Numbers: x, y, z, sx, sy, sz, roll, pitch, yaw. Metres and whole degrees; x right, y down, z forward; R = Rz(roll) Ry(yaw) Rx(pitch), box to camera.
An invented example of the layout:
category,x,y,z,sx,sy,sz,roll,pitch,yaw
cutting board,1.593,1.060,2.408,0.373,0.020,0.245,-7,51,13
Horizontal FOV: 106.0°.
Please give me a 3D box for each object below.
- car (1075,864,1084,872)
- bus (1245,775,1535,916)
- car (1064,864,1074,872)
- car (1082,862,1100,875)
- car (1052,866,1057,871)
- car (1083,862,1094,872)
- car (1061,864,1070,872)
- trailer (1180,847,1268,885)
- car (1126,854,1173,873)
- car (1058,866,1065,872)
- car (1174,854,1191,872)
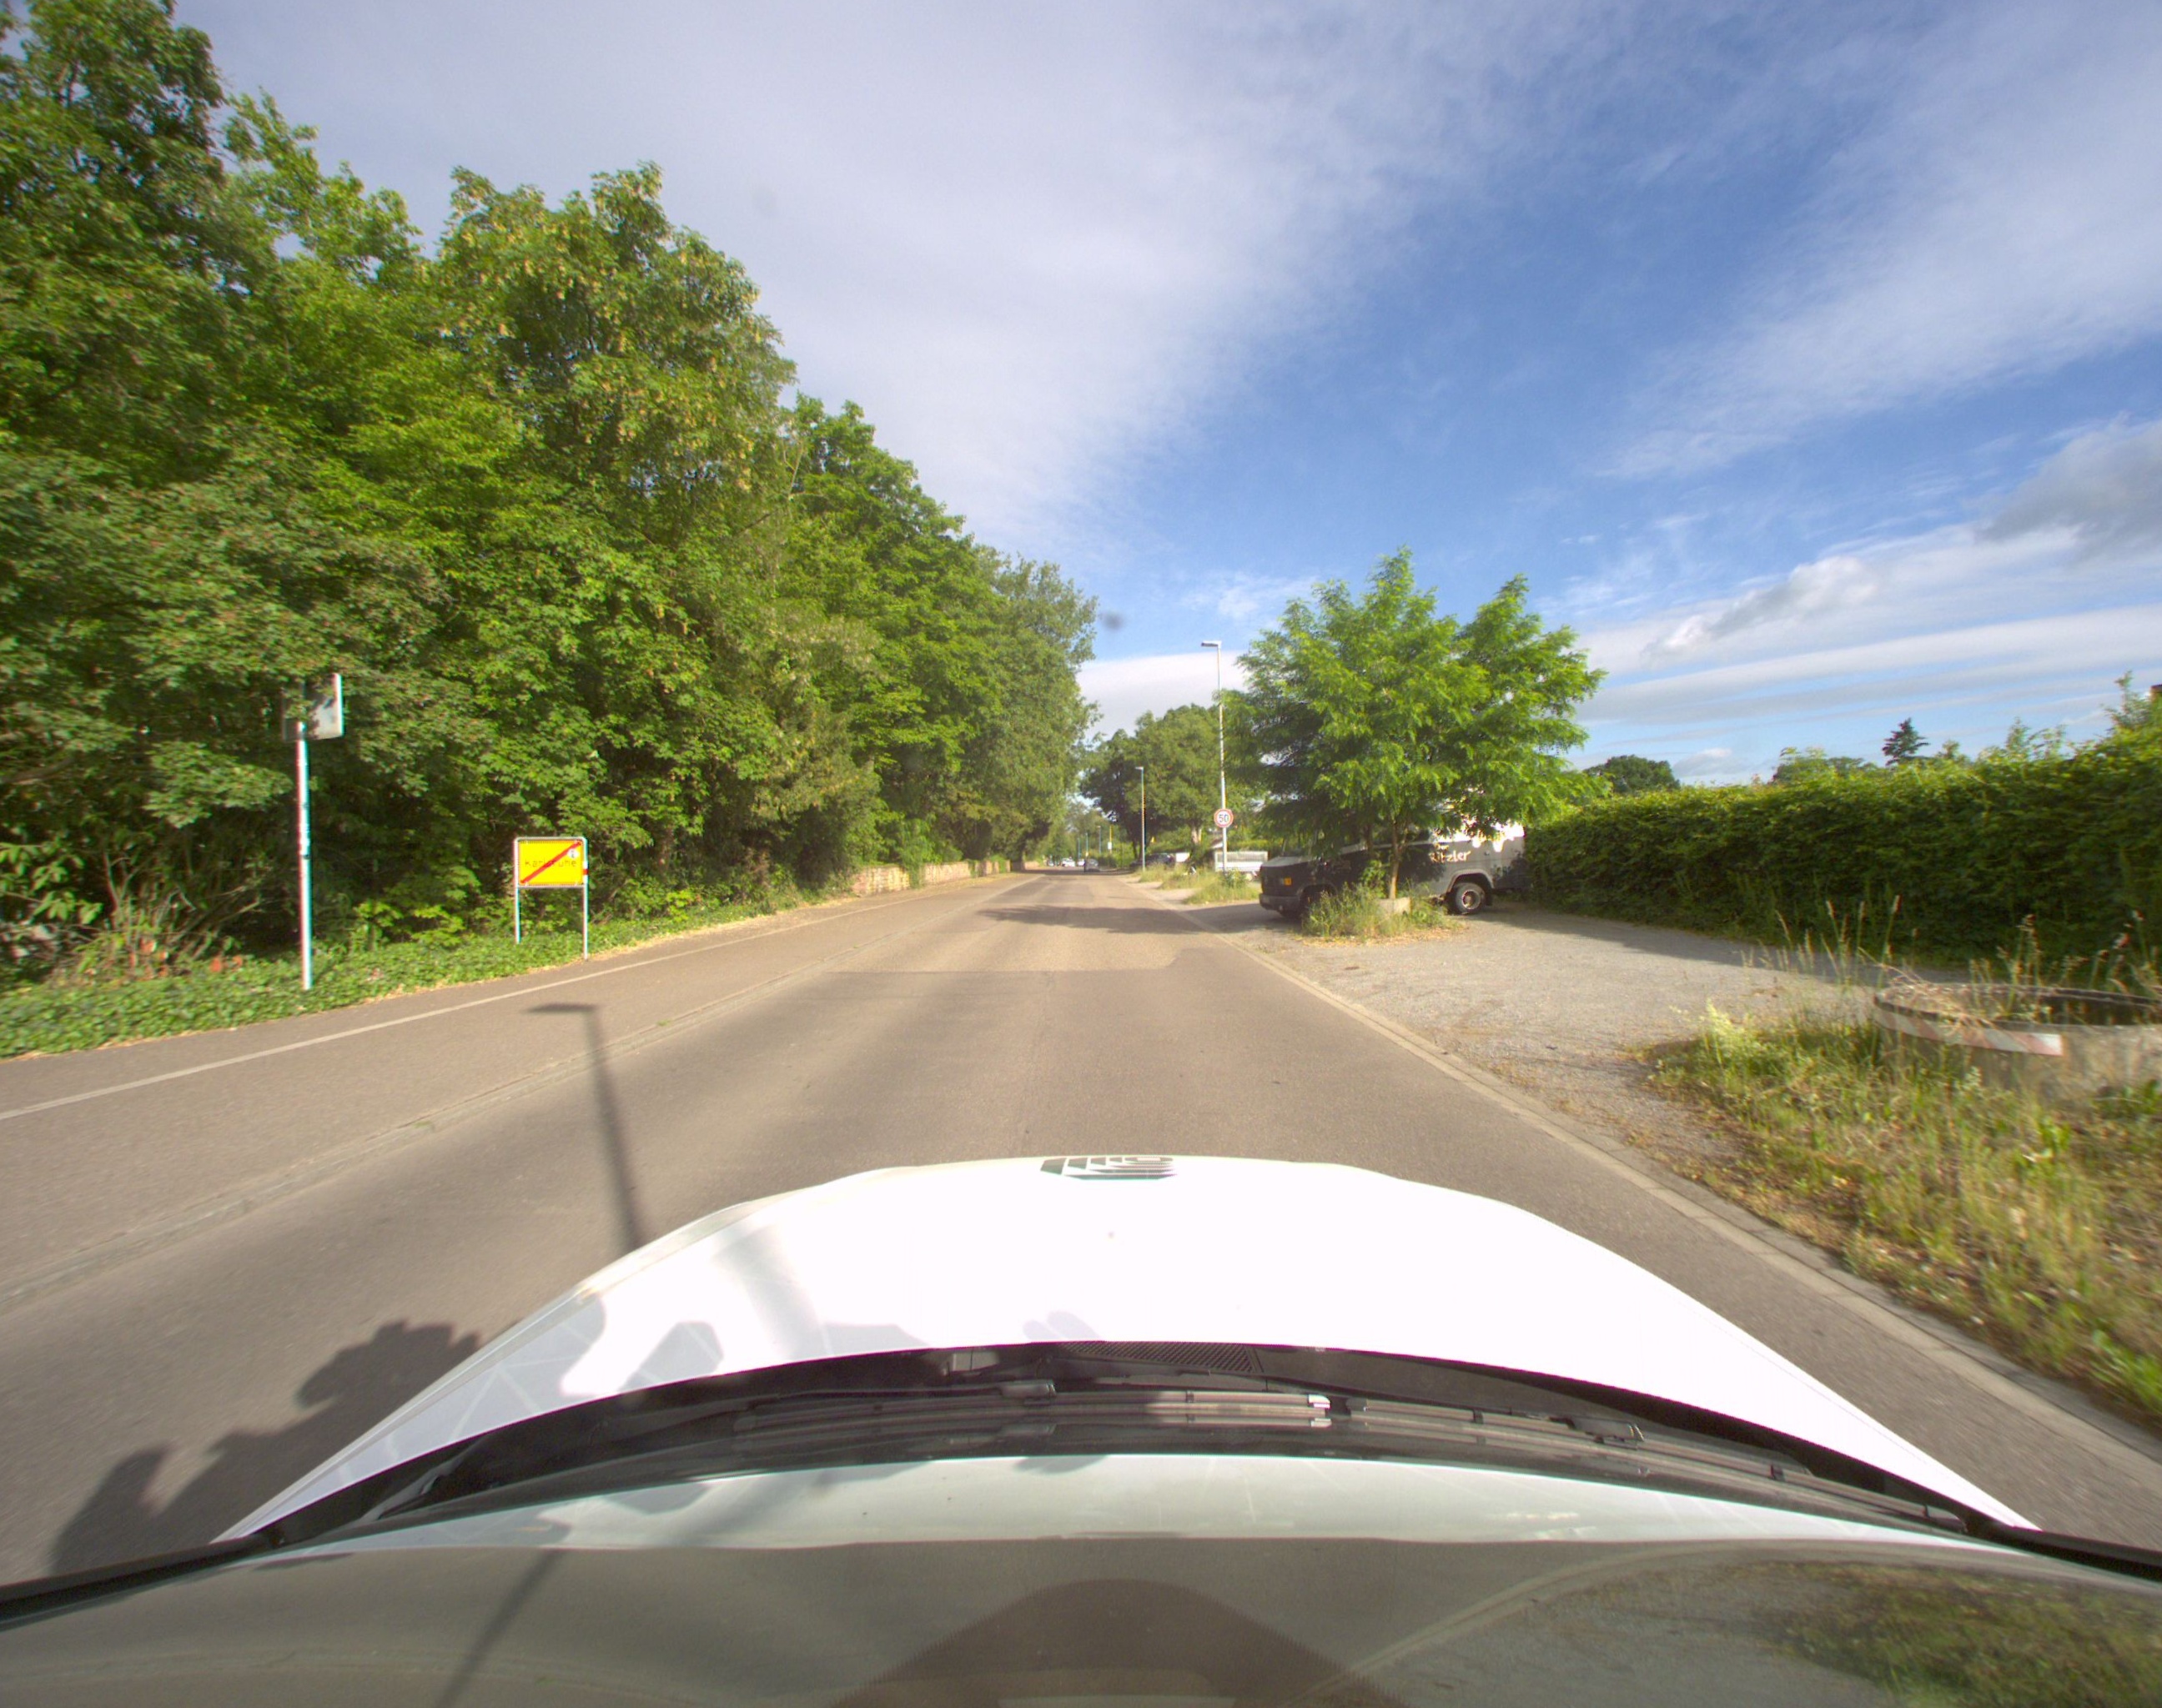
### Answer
category,x,y,z,sx,sy,sz,roll,pitch,yaw
car,-0.283,2.953,170.601,1.881,1.613,4.052,1,-1,-1
bus,6.374,-0.179,17.204,5.353,2.747,2.066,-1,-1,-4
car,-2.278,2.641,154.412,1.882,1.372,4.050,1,-1,-2
car,1.075,1.578,89.237,1.881,1.372,4.052,1,-1,-1
car,-8.008,4.424,245.715,1.573,1.452,3.396,0,-1,-2
car,1.319,2.352,144.781,1.881,1.613,4.052,1,-1,-1
car,-3.477,3.194,184.333,1.881,1.613,4.052,1,-1,-1
trailer,7.079,0.597,40.545,4.134,1.835,1.918,-1,-1,3
car,6.643,0.951,78.917,4.388,1.647,2.000,-2,-2,0
car,-5.071,3.885,212.730,1.881,1.613,4.052,1,-1,-1
car,9.590,0.861,76.906,1.342,1.632,4.123,-2,-1,10
